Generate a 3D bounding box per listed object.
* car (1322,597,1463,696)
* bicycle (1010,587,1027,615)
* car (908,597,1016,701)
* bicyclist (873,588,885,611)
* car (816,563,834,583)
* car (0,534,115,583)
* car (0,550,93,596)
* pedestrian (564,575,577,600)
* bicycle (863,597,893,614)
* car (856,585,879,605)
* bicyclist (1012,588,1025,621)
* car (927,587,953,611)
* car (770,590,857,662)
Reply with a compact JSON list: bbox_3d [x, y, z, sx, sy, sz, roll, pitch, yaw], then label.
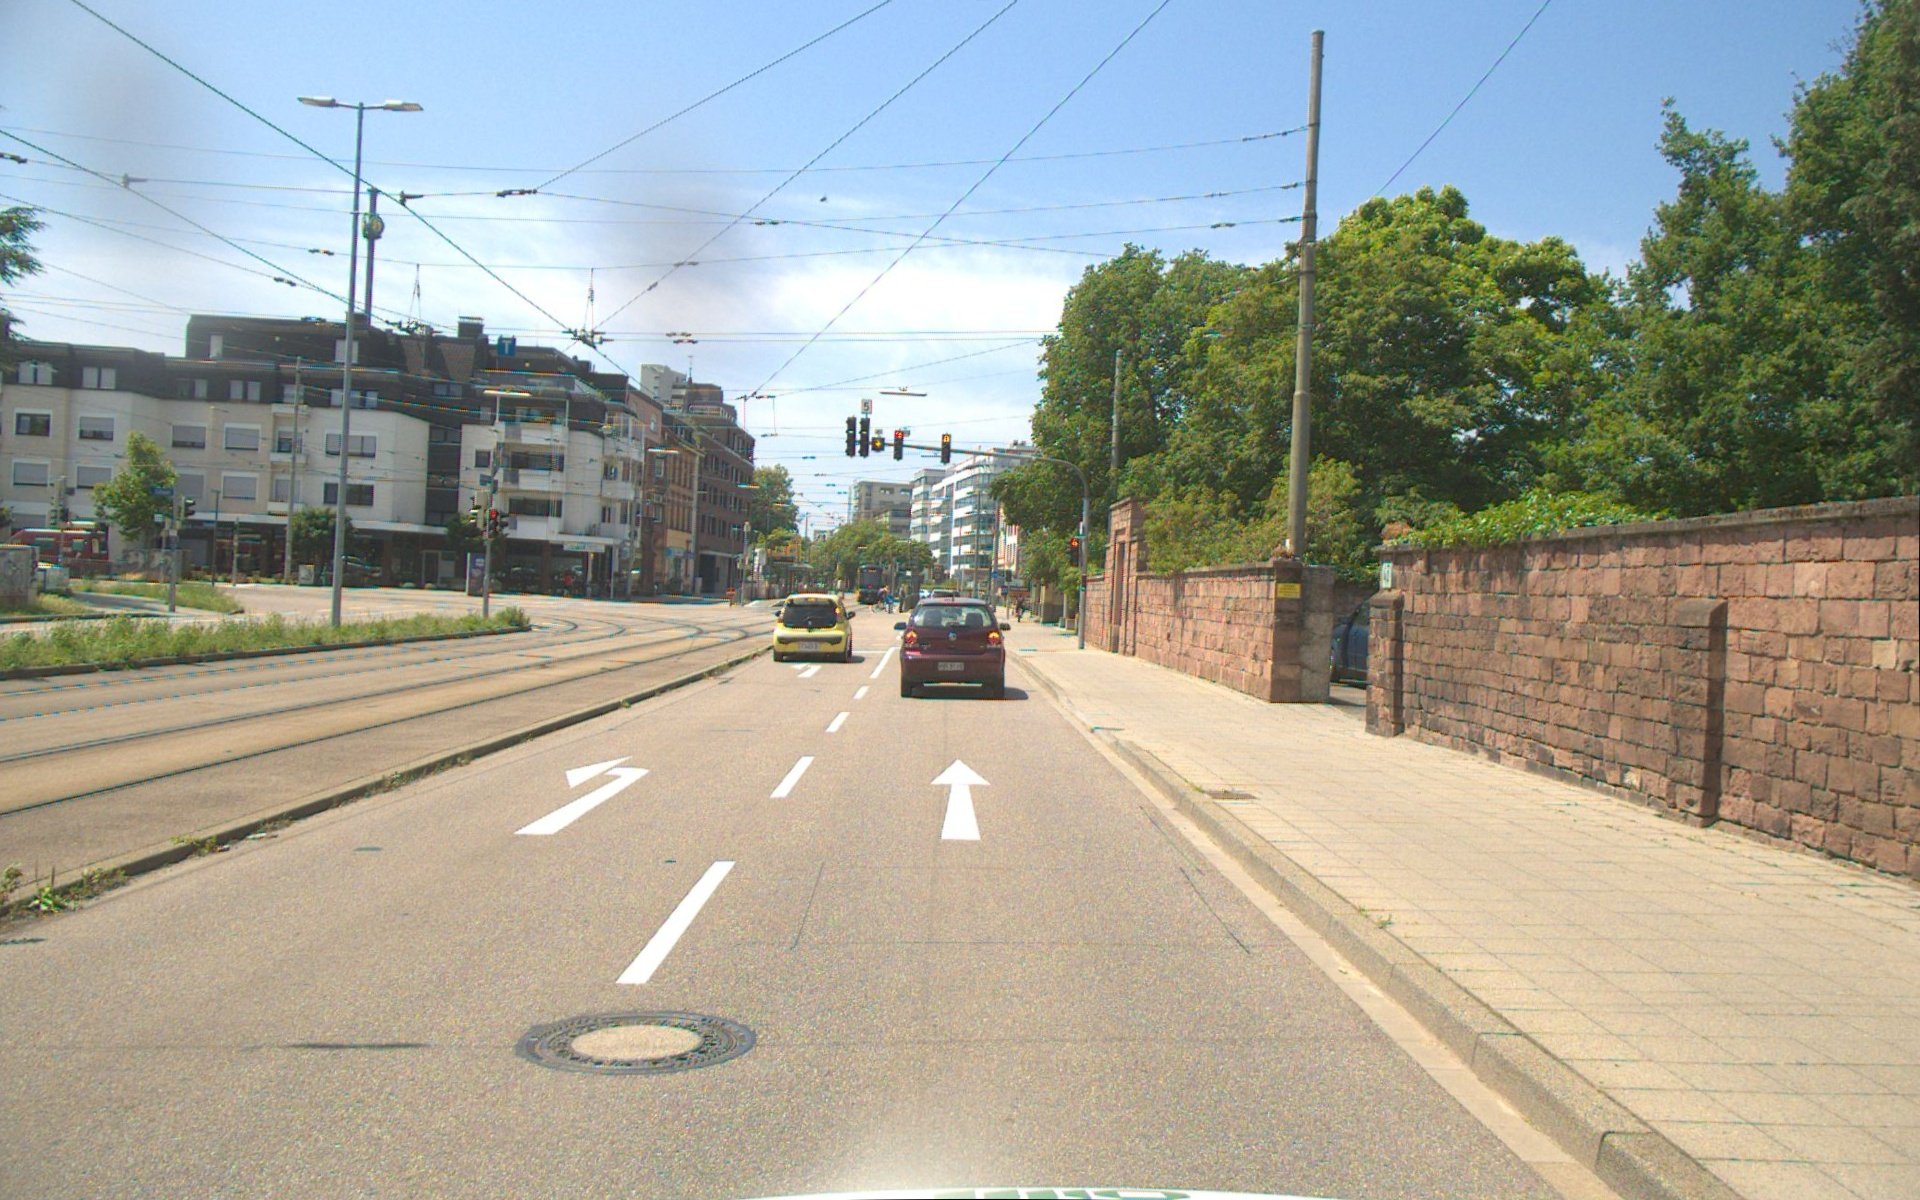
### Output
[{"bbox_3d":[7.266,0.743,28.028,1.451,1.508,2.943,3,0,-3],"label":"car"},{"bbox_3d":[3.381,0.052,95.621,0.818,1.552,3.999,1,0,0],"label":"bicycle"},{"bbox_3d":[0.001,0.706,26.152,1.577,1.489,4.085,0,0,-1],"label":"car"},{"bbox_3d":[-5.023,-0.032,102.606,0.751,1.430,0.506,1,-1,-4],"label":"bicyclist"},{"bbox_3d":[-15.169,-3.027,186.054,1.699,2.049,4.000,2,0,0],"label":"car"},{"bbox_3d":[-46.804,-2.147,85.569,4.962,2.382,2.244,1,-1,-2],"label":"car"},{"bbox_3d":[-35.351,-1.032,62.414,4.457,1.638,1.730,1,-1,9],"label":"car"},{"bbox_3d":[-24.040,-0.766,102.042,0.475,1.568,0.537,1,-1,32],"label":"pedestrian"},{"bbox_3d":[-5.064,0.320,102.601,1.829,1.025,0.578,1,-1,-5],"label":"bicycle"},{"bbox_3d":[-8.299,-0.445,148.776,1.899,1.670,3.999,1,0,-1],"label":"car"},{"bbox_3d":[3.355,0.259,94.626,0.707,1.850,0.888,1,-1,-1],"label":"bicyclist"},{"bbox_3d":[-1.239,-0.076,99.937,1.540,1.440,3.719,0,0,-1],"label":"car"},{"bbox_3d":[-3.215,0.539,36.759,1.688,1.470,3.292,0,1,-1],"label":"car"}]
